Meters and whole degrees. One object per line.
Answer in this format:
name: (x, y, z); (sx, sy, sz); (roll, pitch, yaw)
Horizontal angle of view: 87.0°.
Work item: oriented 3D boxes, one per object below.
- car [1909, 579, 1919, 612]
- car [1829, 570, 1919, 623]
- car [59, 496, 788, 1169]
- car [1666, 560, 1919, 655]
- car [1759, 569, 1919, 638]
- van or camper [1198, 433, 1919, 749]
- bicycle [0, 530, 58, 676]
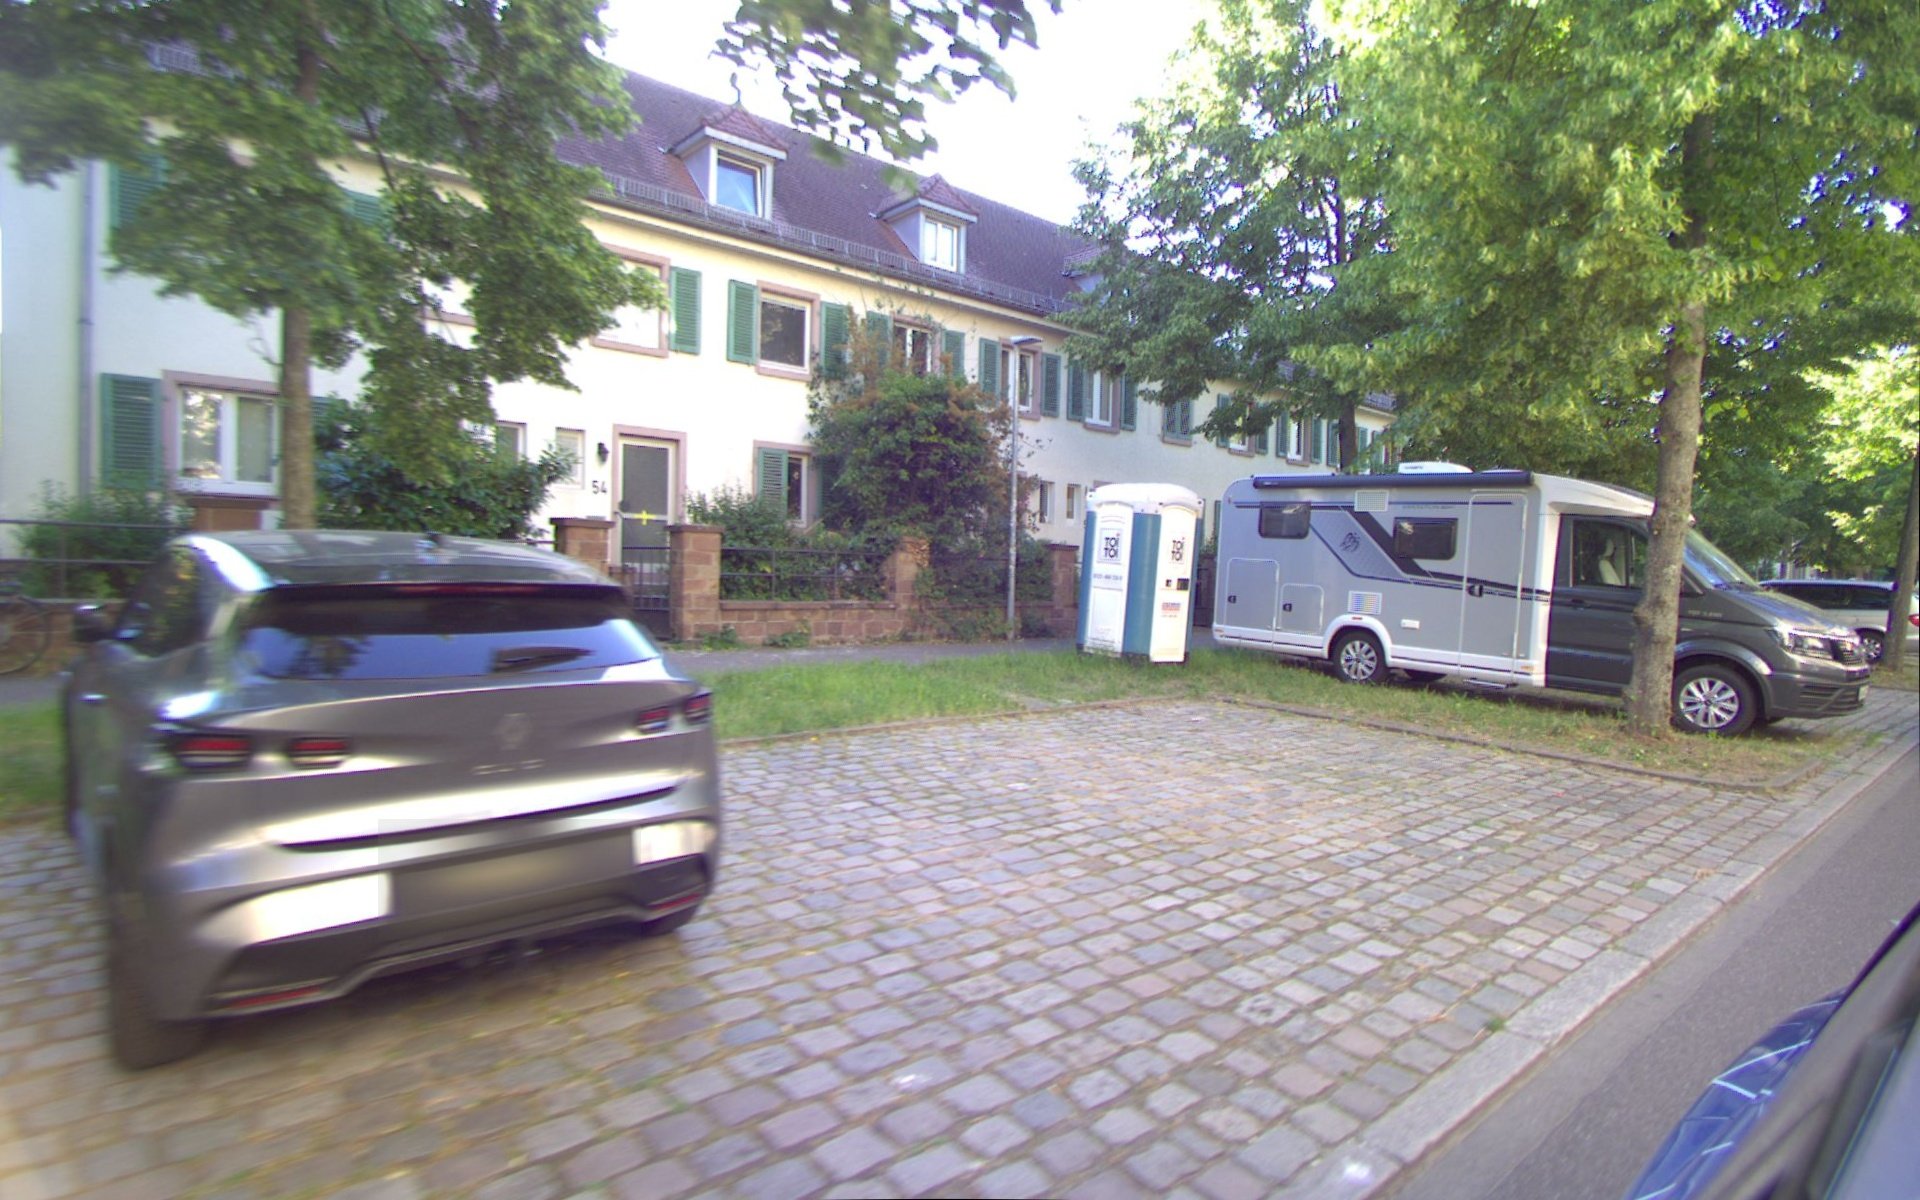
car: (48.799, -0.013, 48.335); (1.862, 1.557, 4.848); (0, 5, -42)
car: (34.342, -0.045, 36.202); (1.872, 1.697, 4.596); (0, 5, -38)
car: (-2.570, 0.427, 4.243); (1.663, 1.472, 4.036); (0, 2, -44)
car: (18.845, 0.098, 22.611); (1.800, 1.730, 4.633); (0, 4, -39)
car: (26.310, 0.106, 29.454); (4.542, 1.652, 1.784); (7, 5, 44)
van or camper: (6.571, -0.398, 12.114); (2.419, 2.678, 7.171); (0, 5, -38)
bicycle: (-8.159, 0.022, 7.792); (1.788, 1.142, 0.565); (-1, 4, -41)
